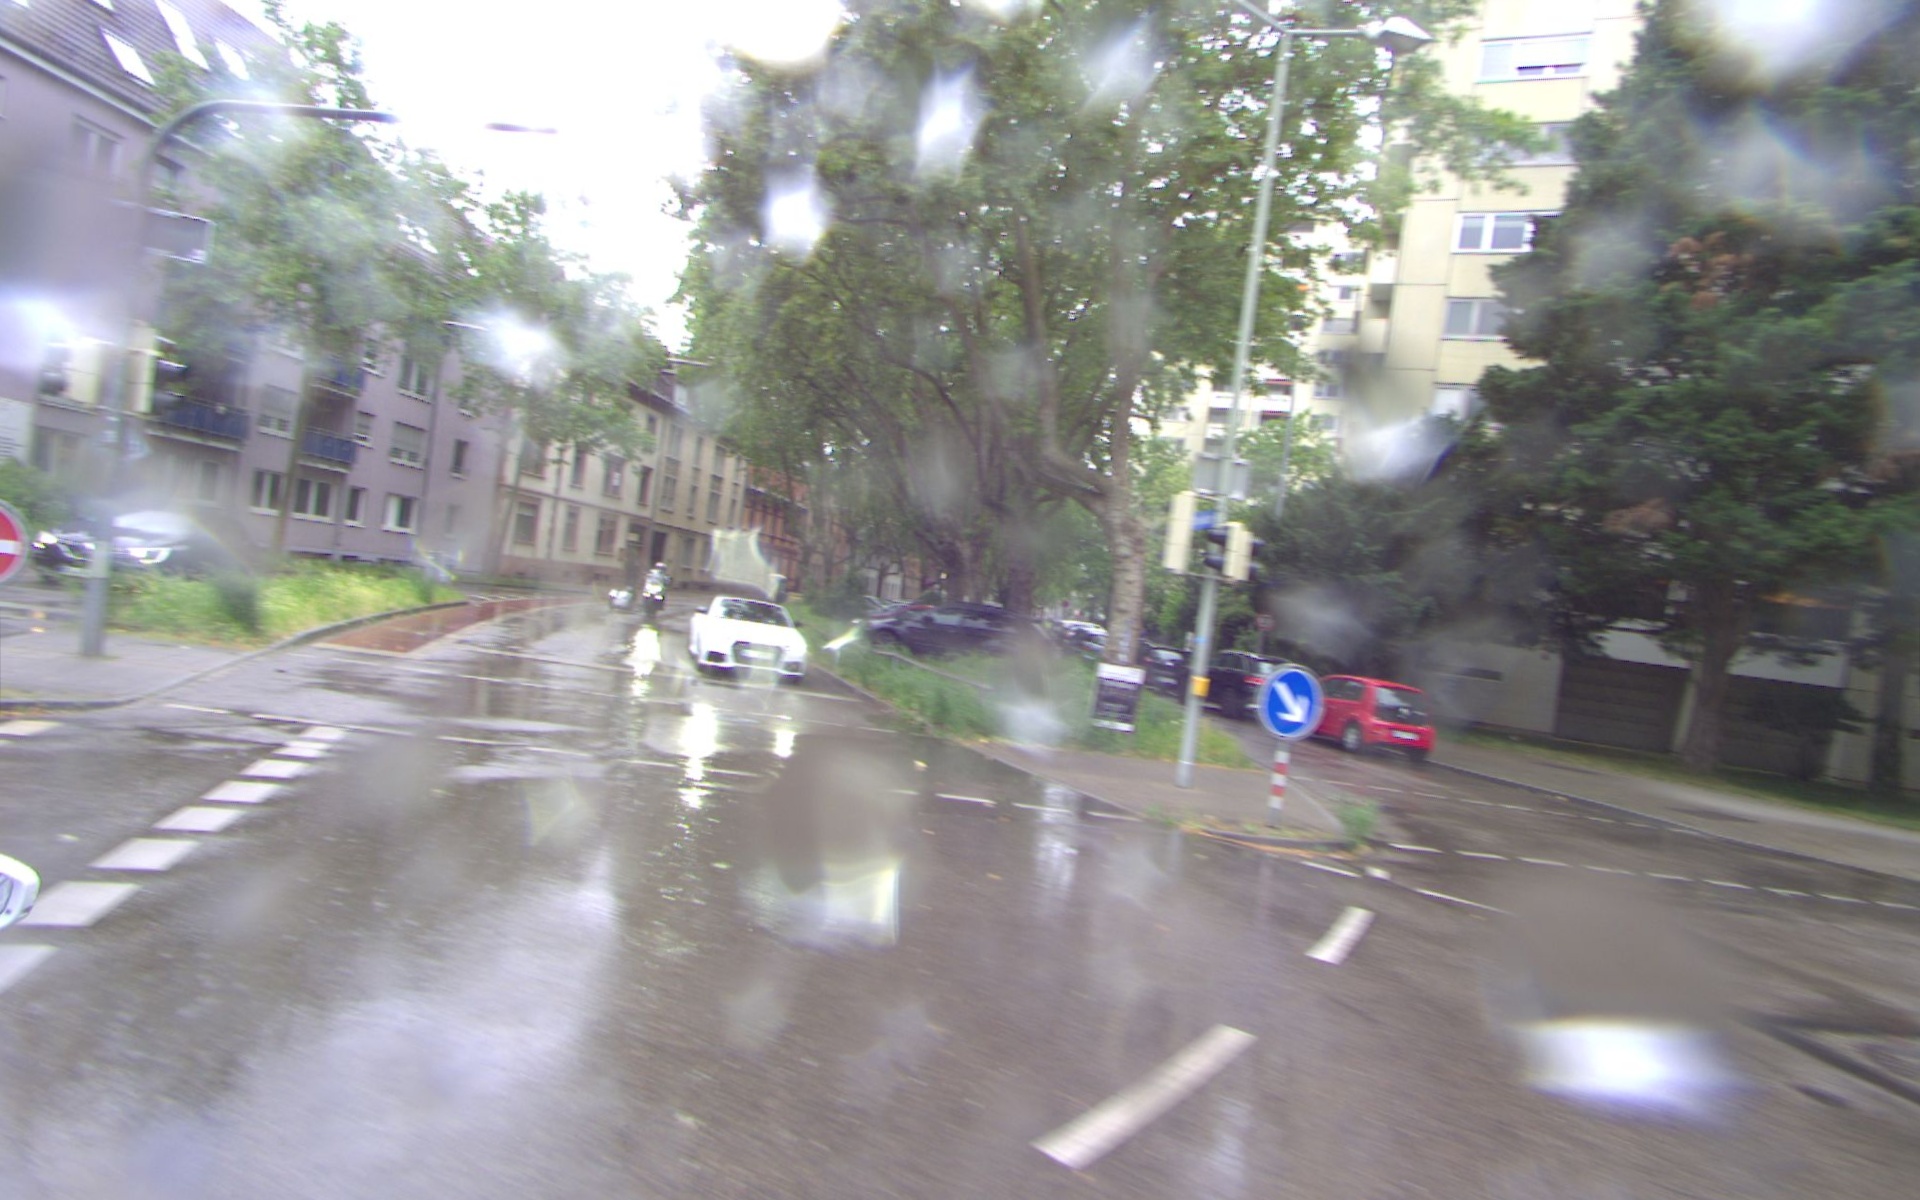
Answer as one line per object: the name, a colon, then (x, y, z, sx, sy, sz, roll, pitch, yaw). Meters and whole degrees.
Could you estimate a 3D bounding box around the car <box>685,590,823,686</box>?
car: (-3.897, 0.622, 18.496, 1.876, 1.290, 4.155, 8, -1, -18)

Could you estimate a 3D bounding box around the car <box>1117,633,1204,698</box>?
car: (6.261, 2.011, 31.779, 1.807, 1.615, 3.486, 8, -1, -1)

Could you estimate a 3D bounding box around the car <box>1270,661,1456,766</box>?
car: (8.190, 2.267, 20.770, 1.812, 1.543, 3.453, 8, -1, -11)

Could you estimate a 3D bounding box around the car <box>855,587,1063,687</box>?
car: (0.012, 0.876, 24.317, 4.516, 1.684, 1.876, 8, 0, 15)

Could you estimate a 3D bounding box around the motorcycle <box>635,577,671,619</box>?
motorcycle: (-9.975, -0.086, 32.740, 0.867, 1.229, 2.069, 8, 0, -14)

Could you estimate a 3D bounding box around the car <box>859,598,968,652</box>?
car: (-1.710, 0.911, 37.777, 3.771, 1.440, 1.886, 8, 1, 3)

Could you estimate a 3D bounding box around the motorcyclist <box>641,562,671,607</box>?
motorcyclist: (-9.903, -0.497, 32.800, 0.746, 1.367, 0.752, 8, 0, -14)

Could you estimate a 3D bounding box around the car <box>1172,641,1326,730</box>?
car: (7.232, 2.101, 25.725, 1.908, 1.627, 4.448, 8, -1, -9)

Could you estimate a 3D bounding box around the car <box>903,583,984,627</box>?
car: (-1.248, 0.334, 72.823, 5.526, 2.430, 2.224, 8, 0, 41)

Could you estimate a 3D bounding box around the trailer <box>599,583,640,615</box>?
trailer: (-10.959, -0.045, 32.426, 1.011, 0.852, 1.479, 8, 0, -13)

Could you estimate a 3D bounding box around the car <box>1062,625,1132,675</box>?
car: (5.600, 2.028, 41.634, 1.898, 1.653, 3.997, 8, -1, -4)

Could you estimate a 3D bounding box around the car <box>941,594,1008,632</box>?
car: (1.304, 1.144, 92.285, 5.883, 2.681, 1.993, 7, 0, 39)

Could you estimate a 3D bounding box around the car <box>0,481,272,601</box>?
car: (-13.630, -0.928, 17.004, 1.965, 1.479, 4.162, 8, 0, -17)
